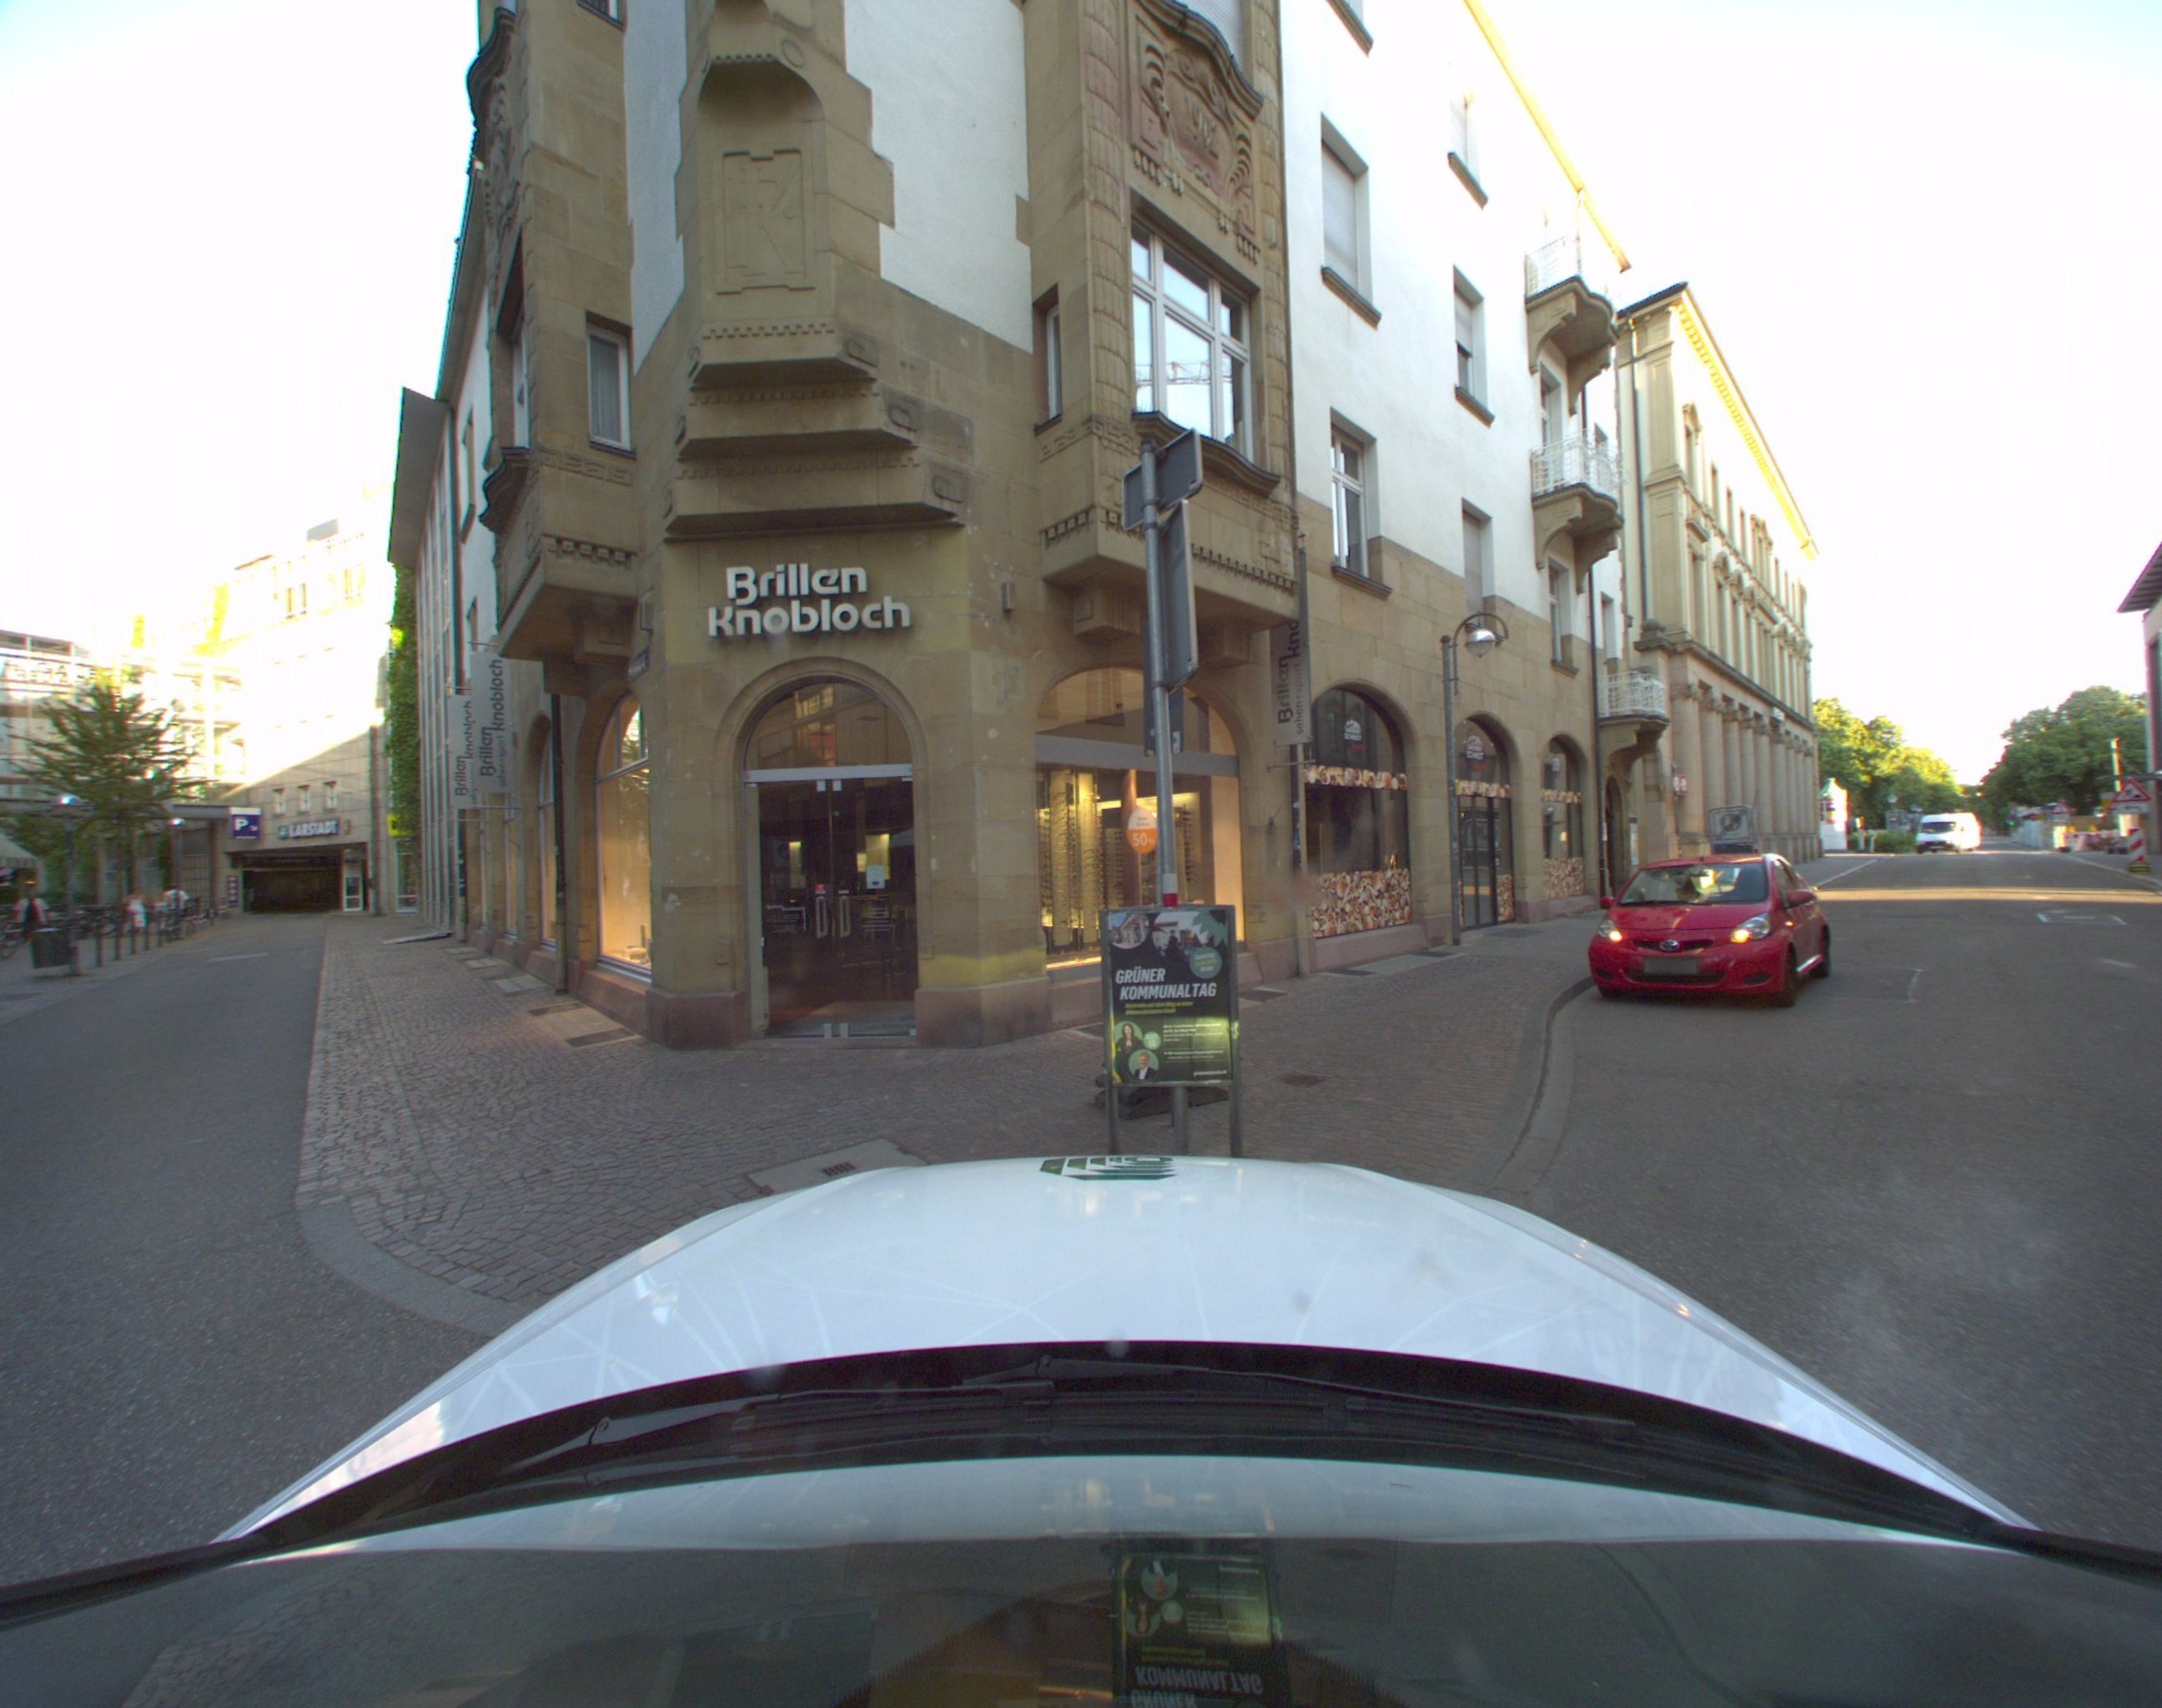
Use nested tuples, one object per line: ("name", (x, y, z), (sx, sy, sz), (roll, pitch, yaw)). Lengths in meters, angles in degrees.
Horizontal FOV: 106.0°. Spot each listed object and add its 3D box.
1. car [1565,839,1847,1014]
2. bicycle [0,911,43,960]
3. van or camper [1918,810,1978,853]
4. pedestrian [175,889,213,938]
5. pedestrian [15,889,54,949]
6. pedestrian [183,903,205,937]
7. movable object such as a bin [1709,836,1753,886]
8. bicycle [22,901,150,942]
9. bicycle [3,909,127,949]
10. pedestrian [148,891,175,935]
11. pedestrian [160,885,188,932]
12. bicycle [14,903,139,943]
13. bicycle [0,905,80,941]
("car", (7.021, 0.663, 8.999), (3.953, 1.470, 1.643), (-2, -3, -41))
("bicycle", (-26.567, 2.013, 20.157), (0.484, 1.081, 2.217), (-2, -1, -36))
("van or camper", (55.496, -1.437, 52.076), (6.405, 2.585, 2.200), (-2, 0, -40))
("pedestrian", (-33.063, 2.185, 30.354), (0.871, 1.757, 0.789), (-1, -2, -42))
("pedestrian", (-32.078, 1.968, 24.959), (0.609, 1.764, 0.662), (-2, -1, 34))
("pedestrian", (-31.780, 2.360, 29.188), (0.470, 1.168, 0.515), (-1, -2, -42))
("movable object such as a bin", (20.239, 0.218, 25.364), (1.298, 1.503, 0.821), (-2, 0, -42))
("bicycle", (-35.513, 2.378, 29.130), (0.724, 1.200, 2.784), (-2, 0, 29))
("bicycle", (-37.778, 2.767, 30.353), (0.724, 1.200, 2.784), (-2, 0, 29))
("pedestrian", (-34.329, 2.193, 30.420), (0.589, 1.604, 0.620), (-1, -2, -42))
("pedestrian", (-34.751, 2.091, 31.220), (0.636, 1.757, 0.789), (-1, -2, -42))
("bicycle", (-36.802, 2.507, 29.908), (0.724, 1.200, 2.784), (-2, 0, 29))
("bicycle", (-40.095, 2.608, 30.761), (0.724, 1.200, 2.784), (-2, 0, 29))
